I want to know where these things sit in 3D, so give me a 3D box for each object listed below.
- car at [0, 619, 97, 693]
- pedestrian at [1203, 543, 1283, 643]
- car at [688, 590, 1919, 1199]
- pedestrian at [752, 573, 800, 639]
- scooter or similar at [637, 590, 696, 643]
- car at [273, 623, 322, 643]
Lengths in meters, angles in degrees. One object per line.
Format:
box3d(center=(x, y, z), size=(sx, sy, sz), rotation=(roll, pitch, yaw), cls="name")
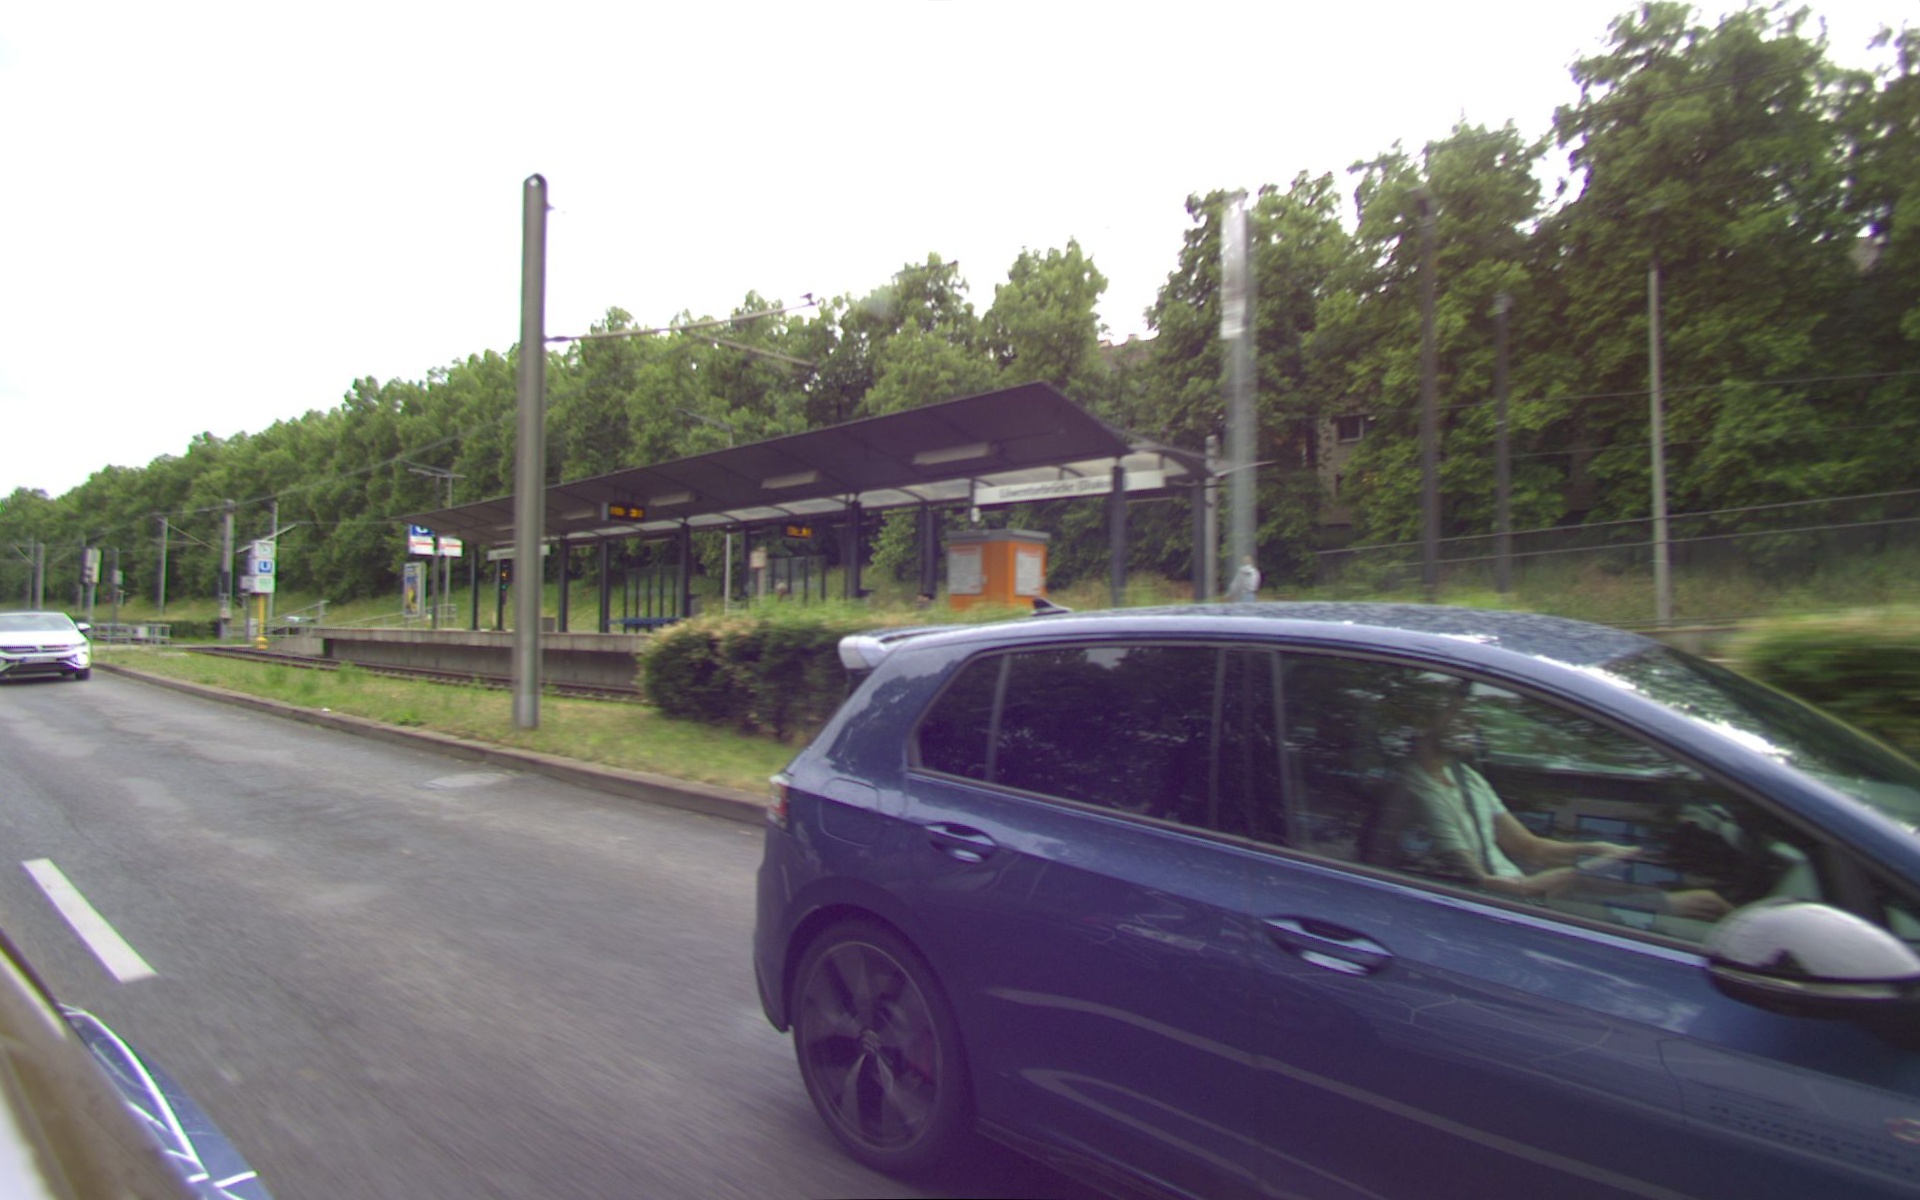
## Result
box3d(center=(-20.546, 1.158, 22.287), size=(4.701, 1.476, 1.933), rotation=(-1, -1, 45), cls="car")
box3d(center=(4.785, -0.099, 17.106), size=(1.025, 1.623, 0.926), rotation=(-1, -1, 38), cls="pedestrian")
box3d(center=(1.415, 0.688, 2.266), size=(4.344, 1.389, 1.789), rotation=(-1, -1, 41), cls="car")
box3d(center=(-3.933, 0.131, 21.625), size=(0.691, 1.366, 0.745), rotation=(-1, -1, 39), cls="pedestrian")
box3d(center=(-6.912, 0.391, 23.874), size=(1.281, 1.227, 0.380), rotation=(0, 0, -3), cls="scooter or similar")
box3d(center=(-47.671, 2.370, 72.796), size=(3.994, 1.414, 1.779), rotation=(-1, -1, 38), cls="car")
